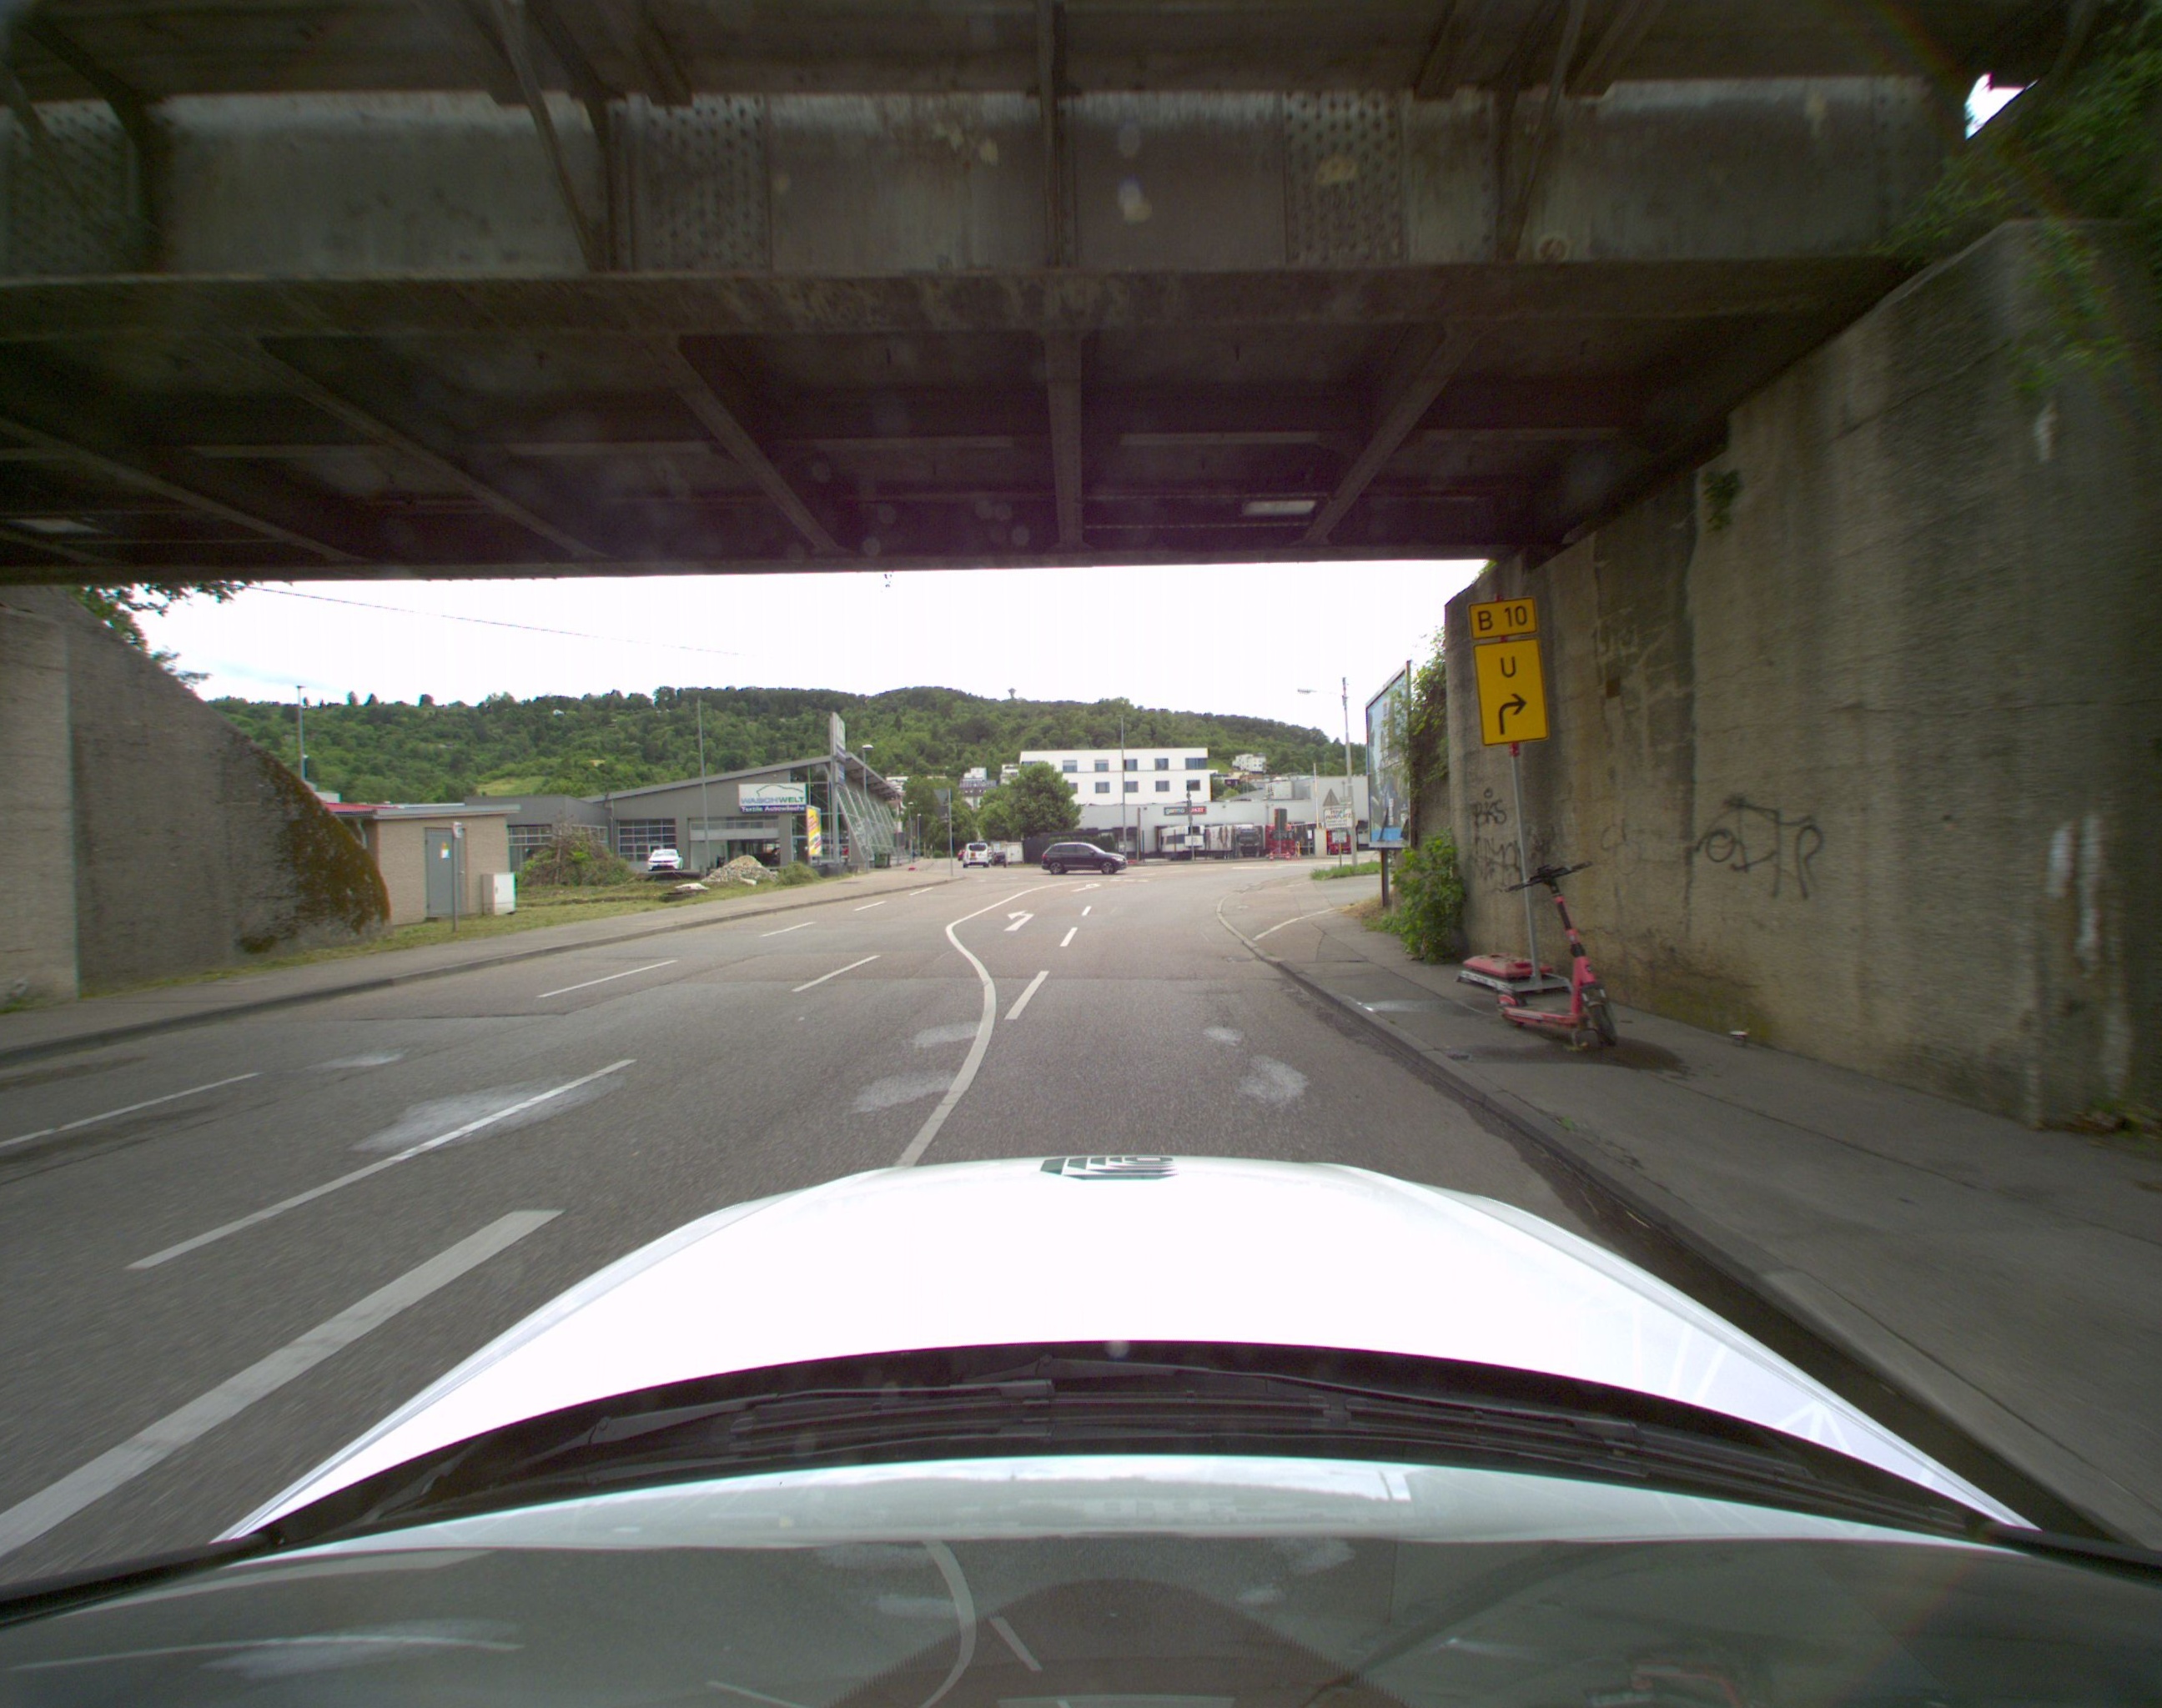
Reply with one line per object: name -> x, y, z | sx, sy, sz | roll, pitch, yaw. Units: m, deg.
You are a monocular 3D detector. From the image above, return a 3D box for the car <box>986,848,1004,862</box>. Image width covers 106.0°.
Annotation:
car -> -10.106, 0.112, 95.380 | 1.992, 1.508, 3.991 | -1, 1, -7

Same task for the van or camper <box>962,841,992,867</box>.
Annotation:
van or camper -> -8.789, -0.003, 68.352 | 2.101, 2.083, 4.187 | -2, 0, -12

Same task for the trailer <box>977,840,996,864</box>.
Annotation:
trailer -> -12.279, -0.289, 106.060 | 2.278, 2.953, 3.989 | -1, 1, -8

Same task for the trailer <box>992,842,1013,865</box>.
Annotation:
trailer -> -8.159, -0.078, 84.316 | 1.993, 2.343, 3.989 | -1, 1, -8

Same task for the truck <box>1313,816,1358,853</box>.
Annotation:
truck -> 28.763, -2.145, 92.246 | 2.789, 3.928, 5.913 | -1, 0, -6

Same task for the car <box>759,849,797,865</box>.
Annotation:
car -> -35.251, 0.327, 94.871 | 3.999, 1.728, 1.987 | -1, 0, -19

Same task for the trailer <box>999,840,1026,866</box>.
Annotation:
trailer -> -5.641, -0.078, 66.731 | 1.993, 2.013, 3.989 | -1, 1, -8

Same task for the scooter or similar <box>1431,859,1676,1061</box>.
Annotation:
scooter or similar -> 3.380, 0.679, 6.022 | 0.504, 1.236, 1.663 | -5, 0, -11

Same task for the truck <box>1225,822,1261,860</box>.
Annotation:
truck -> 17.889, -1.357, 90.083 | 2.789, 4.040, 4.157 | -1, 0, -6

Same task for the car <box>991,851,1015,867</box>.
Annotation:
car -> -7.600, 0.475, 78.777 | 1.994, 1.508, 4.167 | -1, 1, -10

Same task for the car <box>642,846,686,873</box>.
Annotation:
car -> -25.466, 0.351, 49.845 | 2.002, 1.535, 3.970 | -1, 0, -23

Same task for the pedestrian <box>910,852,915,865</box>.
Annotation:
pedestrian -> -23.200, 0.641, 112.343 | 0.628, 1.673, 0.755 | -2, -1, -12

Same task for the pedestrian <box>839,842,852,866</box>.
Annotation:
pedestrian -> -18.580, -0.014, 64.299 | 0.828, 1.868, 0.713 | -2, 0, -20

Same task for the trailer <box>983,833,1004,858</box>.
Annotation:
trailer -> -13.781, -1.393, 128.395 | 3.067, 3.759, 4.920 | -1, 1, -8

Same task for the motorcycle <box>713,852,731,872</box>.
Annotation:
motorcycle -> -31.076, 0.668, 70.514 | 0.840, 1.710, 2.355 | -1, 0, -10

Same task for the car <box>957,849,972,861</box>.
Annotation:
car -> -17.943, 0.167, 125.367 | 1.991, 1.684, 3.991 | -2, 0, -6

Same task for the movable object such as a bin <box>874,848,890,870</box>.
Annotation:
movable object such as a bin -> -16.512, 0.436, 67.565 | 1.141, 1.757, 1.056 | -2, -1, -7

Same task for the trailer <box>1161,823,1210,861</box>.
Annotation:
trailer -> 12.086, -1.303, 95.519 | 3.077, 4.077, 11.385 | -1, 0, -6

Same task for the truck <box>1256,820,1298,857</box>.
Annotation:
truck -> 21.933, -1.708, 91.469 | 2.789, 3.928, 5.913 | -1, 0, -6

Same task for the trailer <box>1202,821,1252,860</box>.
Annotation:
trailer -> 17.210, -1.492, 96.717 | 2.780, 4.301, 11.158 | -1, 0, -6

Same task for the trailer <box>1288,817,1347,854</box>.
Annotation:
trailer -> 28.204, -2.147, 97.686 | 2.780, 4.077, 10.972 | -1, 0, -6

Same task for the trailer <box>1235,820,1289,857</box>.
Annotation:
trailer -> 21.355, -1.741, 96.784 | 2.780, 4.077, 10.972 | -1, 0, -6

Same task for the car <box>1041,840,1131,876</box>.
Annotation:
car -> 0.290, 0.219, 42.561 | 4.329, 1.684, 2.006 | -2, 0, 10
